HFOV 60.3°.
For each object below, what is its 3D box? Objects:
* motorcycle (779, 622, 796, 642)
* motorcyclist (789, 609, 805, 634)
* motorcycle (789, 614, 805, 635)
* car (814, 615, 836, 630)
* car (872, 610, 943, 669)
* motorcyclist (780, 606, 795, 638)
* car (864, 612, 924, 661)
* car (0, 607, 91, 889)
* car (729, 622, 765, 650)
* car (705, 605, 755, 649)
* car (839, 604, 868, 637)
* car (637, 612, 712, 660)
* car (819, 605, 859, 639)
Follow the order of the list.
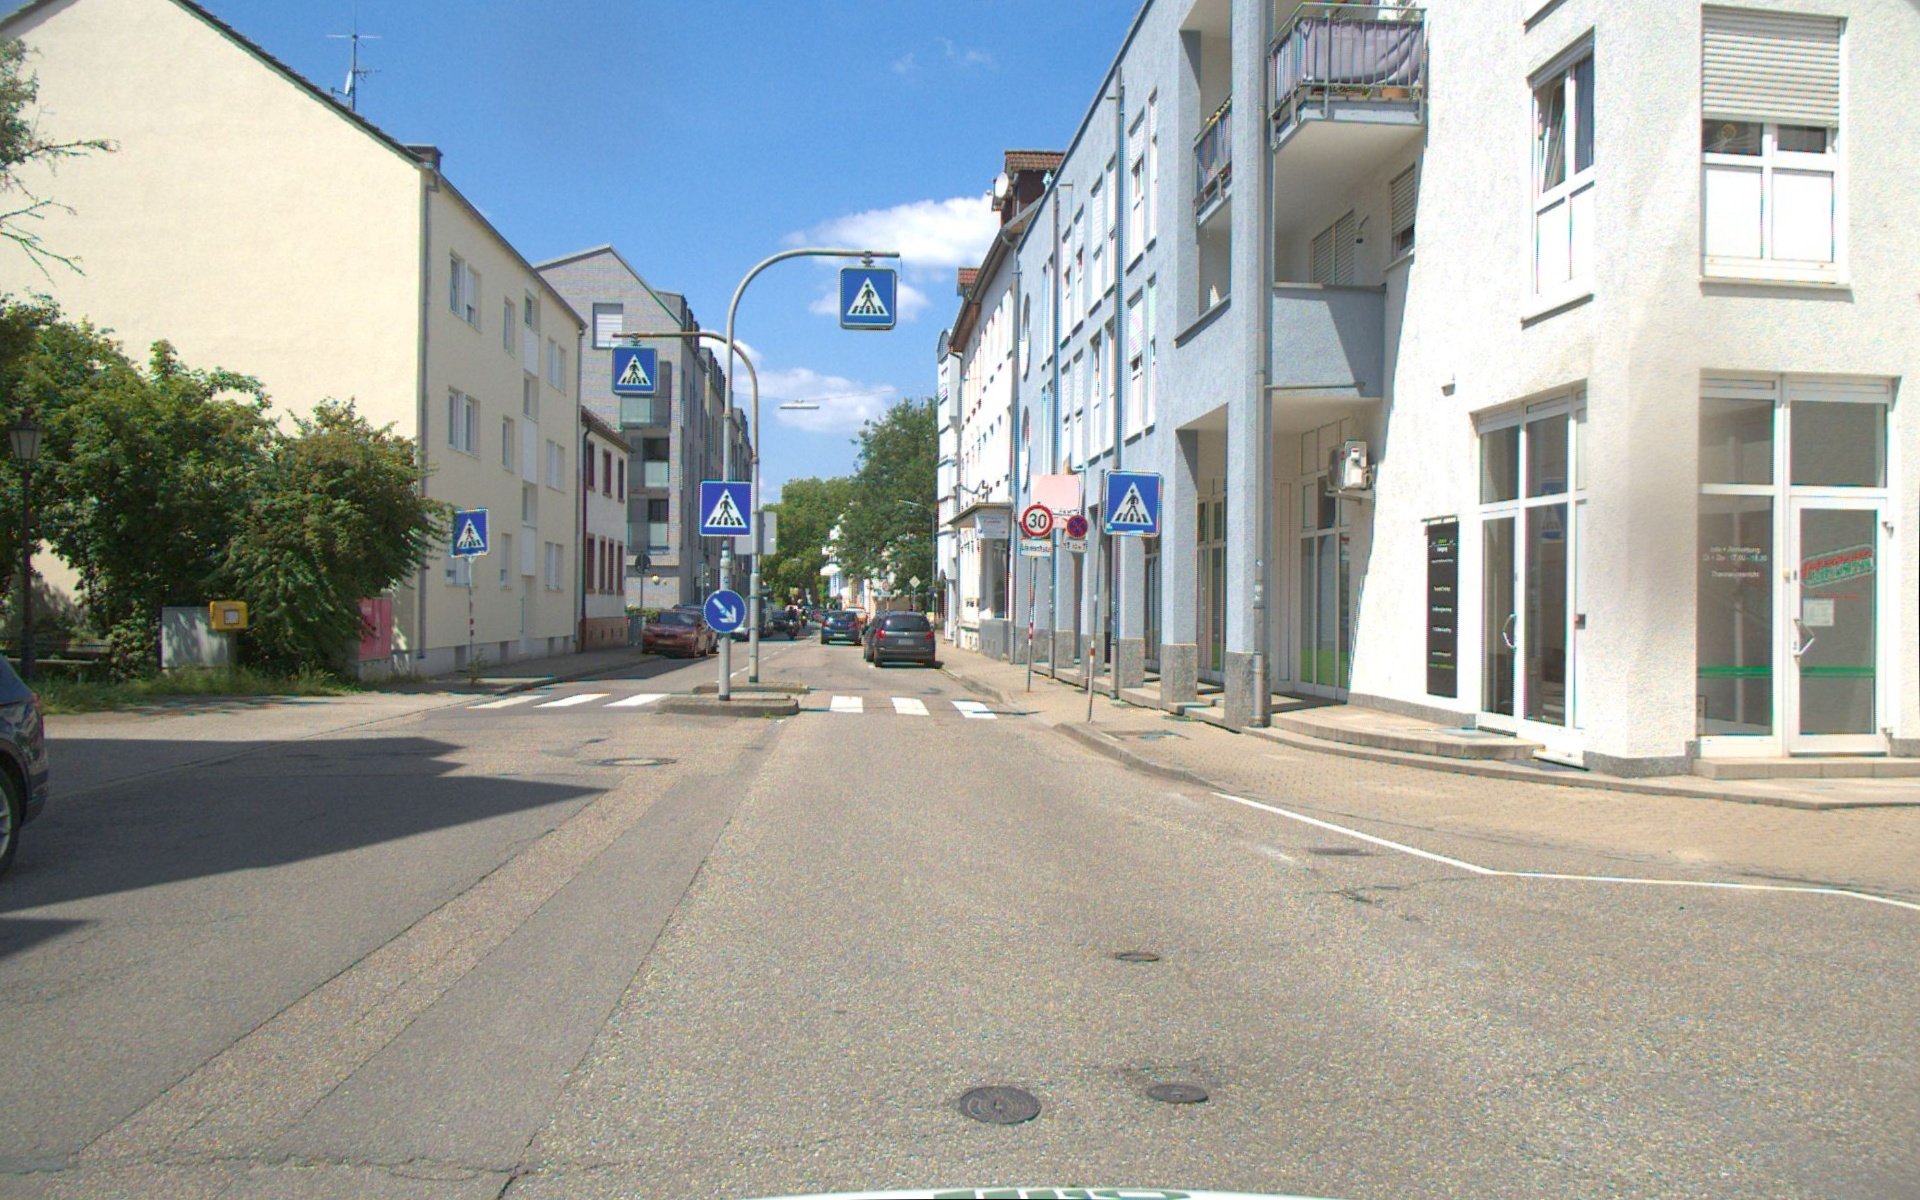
[{"bbox_3d":[-9.282,1.705,88.955,0.698,1.046,2.239,0,0,-1],"label":"motorcycle"},{"bbox_3d":[-9.804,1.296,99.381,0.898,1.506,1.202,1,0,-4],"label":"motorcyclist"},{"bbox_3d":[-9.799,1.467,99.392,0.878,1.196,2.206,1,0,-4],"label":"motorcycle"},{"bbox_3d":[-15.822,2.604,193.732,1.959,1.646,3.987,1,0,-13],"label":"car"},{"bbox_3d":[-1.487,1.070,45.873,1.677,1.534,3.995,0,0,-6],"label":"car"},{"bbox_3d":[-9.285,1.177,88.970,0.698,1.663,1.068,0,0,-1],"label":"motorcyclist"},{"bbox_3d":[-2.093,1.105,51.376,1.695,1.445,4.540,0,0,-4],"label":"car"},{"bbox_3d":[-5.879,0.775,7.341,1.747,1.483,4.632,0,0,-2],"label":"car"},{"bbox_3d":[-12.000,2.016,93.529,1.689,1.481,4.002,2,0,-3],"label":"car"},{"bbox_3d":[-11.023,1.273,79.454,1.721,1.925,4.336,3,0,0],"label":"car"},{"bbox_3d":[-6.858,1.296,106.341,1.802,2.049,3.997,0,0,-4],"label":"car"},{"bbox_3d":[-9.071,1.122,52.841,1.797,1.441,4.288,1,0,-2],"label":"car"},{"bbox_3d":[-5.304,0.946,72.766,1.681,1.426,3.997,0,0,-4],"label":"car"}]
